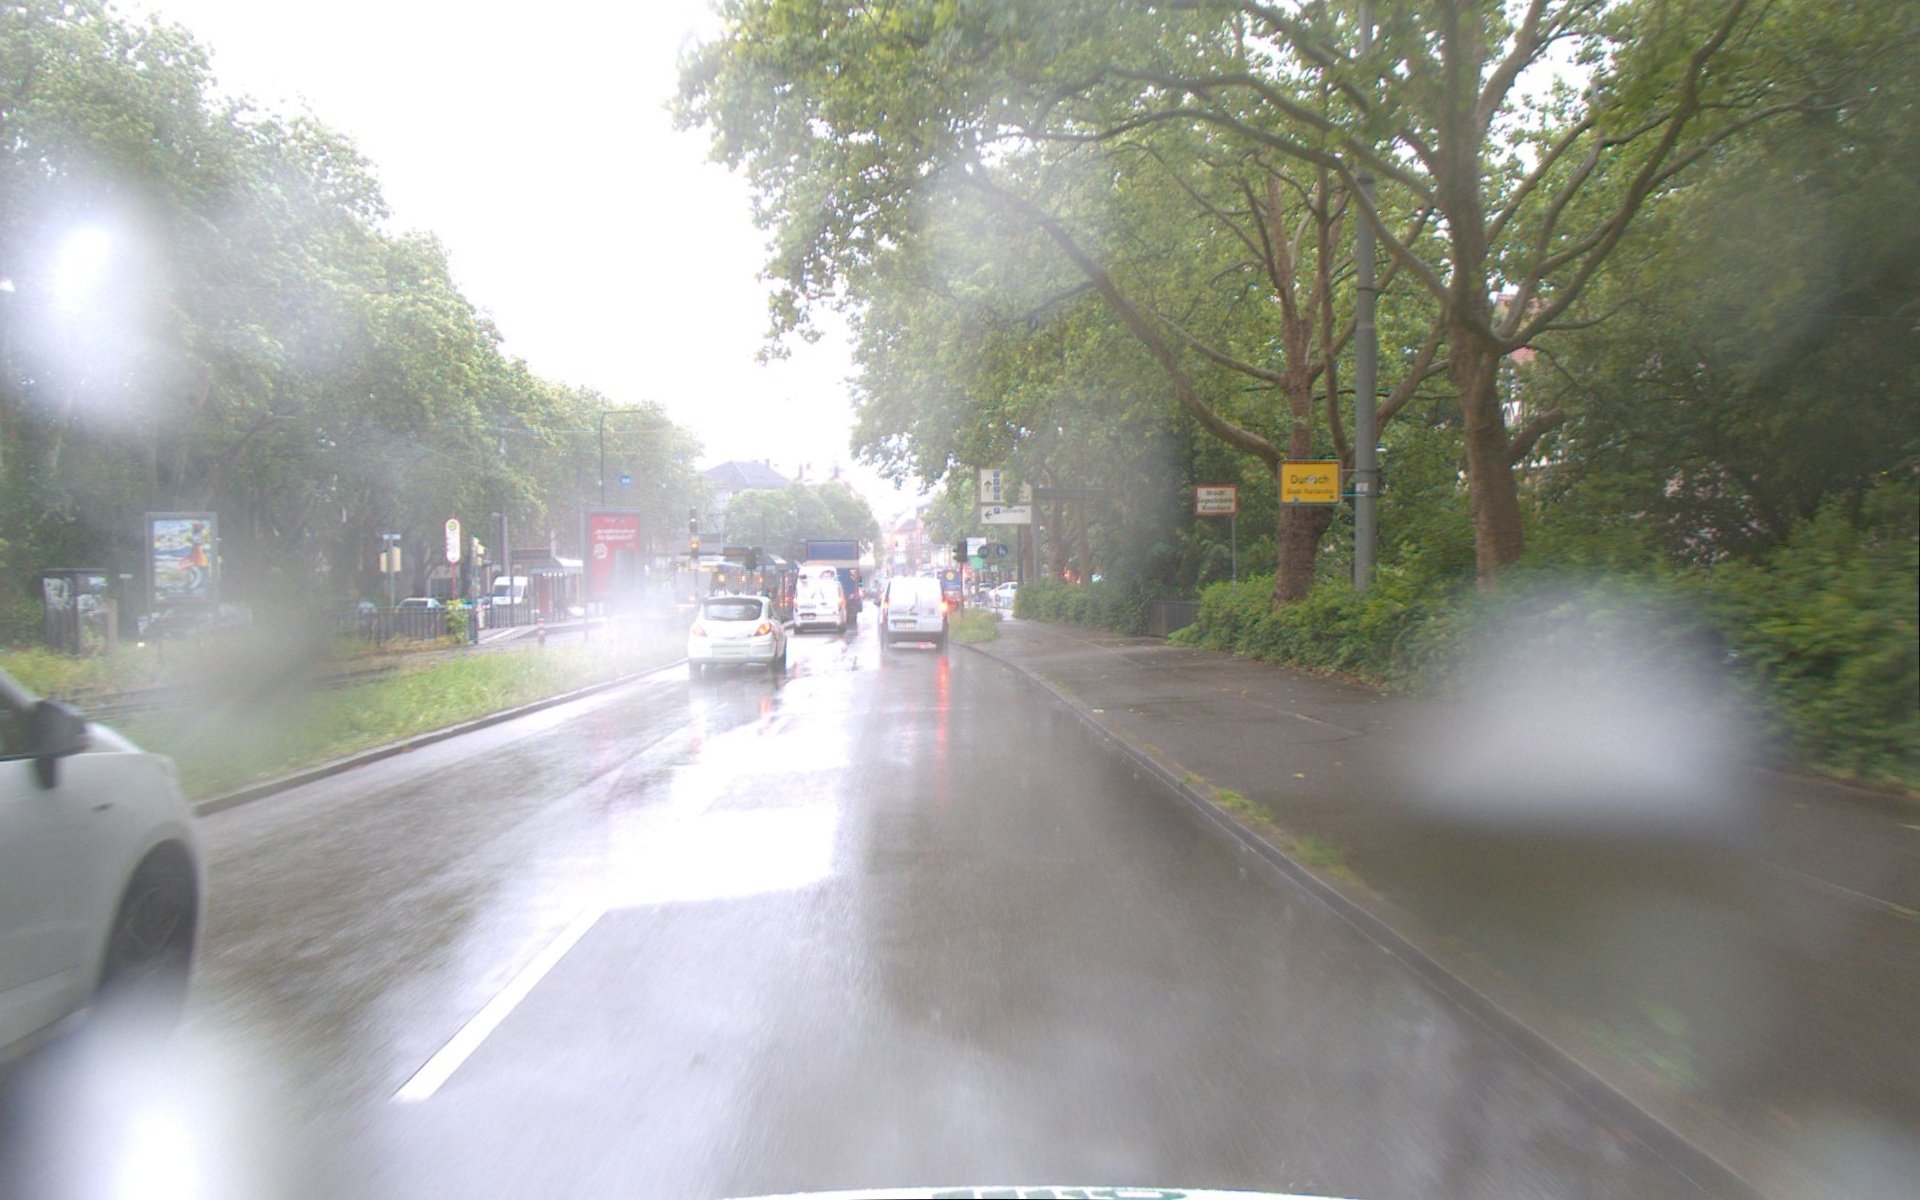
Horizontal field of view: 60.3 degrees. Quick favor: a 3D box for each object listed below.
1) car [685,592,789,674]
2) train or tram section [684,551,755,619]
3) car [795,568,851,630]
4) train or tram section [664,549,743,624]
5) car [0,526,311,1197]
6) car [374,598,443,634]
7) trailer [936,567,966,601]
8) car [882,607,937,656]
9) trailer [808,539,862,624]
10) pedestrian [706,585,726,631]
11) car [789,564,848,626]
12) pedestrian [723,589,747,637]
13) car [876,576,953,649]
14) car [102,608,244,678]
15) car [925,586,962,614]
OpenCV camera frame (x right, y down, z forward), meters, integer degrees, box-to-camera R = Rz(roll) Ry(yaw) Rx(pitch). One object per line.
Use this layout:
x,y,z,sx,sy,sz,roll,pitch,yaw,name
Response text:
-4.313,0.634,32.451,1.691,1.505,3.803,0,-1,-3,car
-12.786,-0.854,88.410,2.920,3.342,8.426,-2,1,-3,train or tram section
-5.273,-0.003,64.086,1.953,2.302,5.286,0,-1,-2,car
-12.299,-0.694,80.027,2.902,3.342,8.355,-2,1,-3,train or tram section
-3.278,0.644,3.890,1.826,1.652,4.262,0,0,0,car
-25.096,0.700,75.400,1.895,1.544,3.998,-2,0,-2,car
-0.691,-1.165,120.224,1.954,2.357,4.665,0,-1,-3,trailer
-1.767,1.088,58.371,1.869,1.646,3.999,0,-1,-1,car
-6.134,-0.900,81.701,2.539,3.968,7.630,0,0,-4,trailer
-9.579,0.324,65.014,0.701,1.775,0.750,-1,0,-3,pedestrian
-6.147,-0.190,72.532,2.283,2.602,6.111,0,-1,-2,car
-8.252,0.479,60.570,0.774,1.744,0.770,1,-1,-3,pedestrian
-1.211,0.324,42.976,1.920,1.808,3.567,0,-1,-3,car
-20.920,1.098,44.159,1.992,1.686,4.272,-2,0,-5,car
-0.908,-0.012,93.752,1.952,1.569,4.001,-1,0,1,car
